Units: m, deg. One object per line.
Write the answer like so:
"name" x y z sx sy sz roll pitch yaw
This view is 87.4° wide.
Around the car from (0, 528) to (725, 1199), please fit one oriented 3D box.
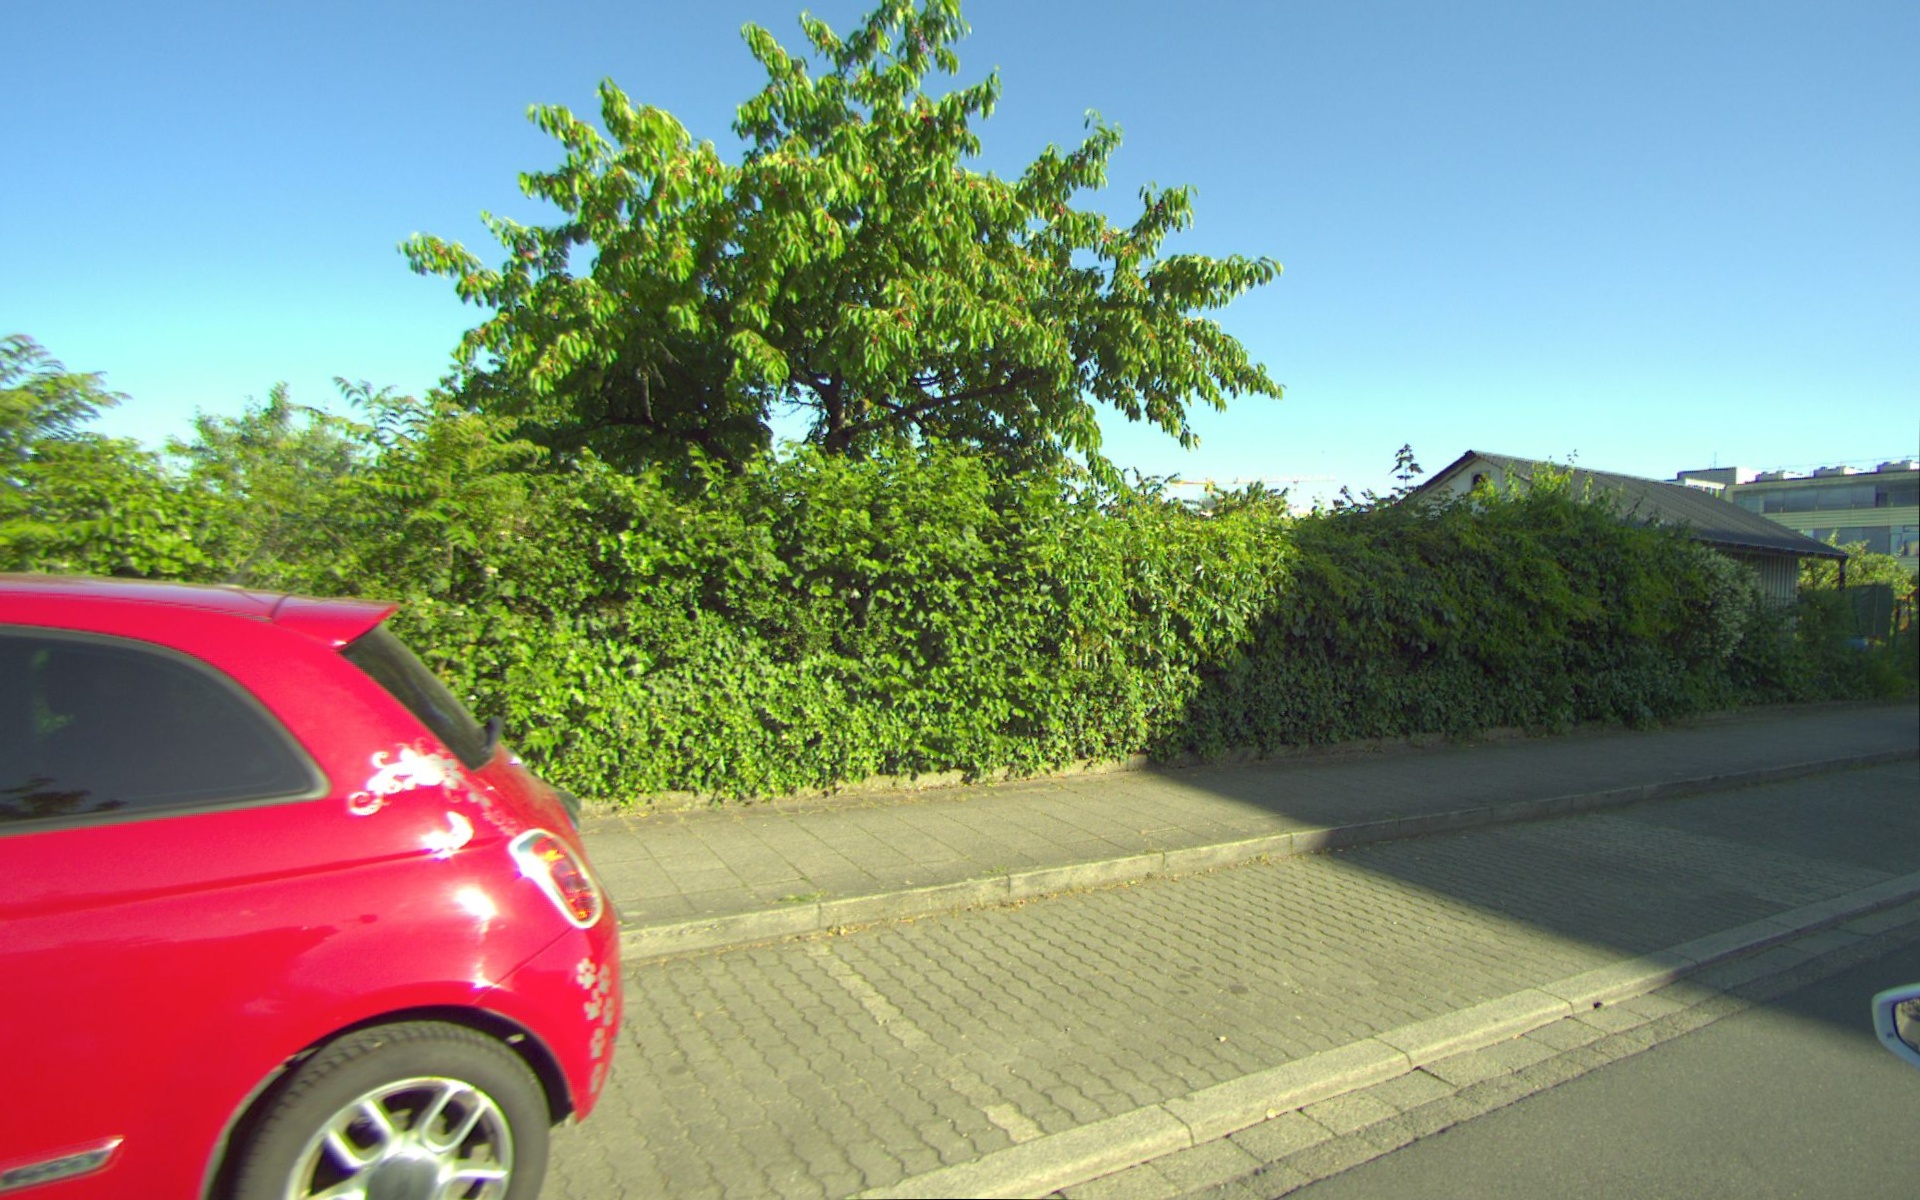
"car" -2.453 0.620 2.090 3.528 1.515 1.552 1 0 -30
